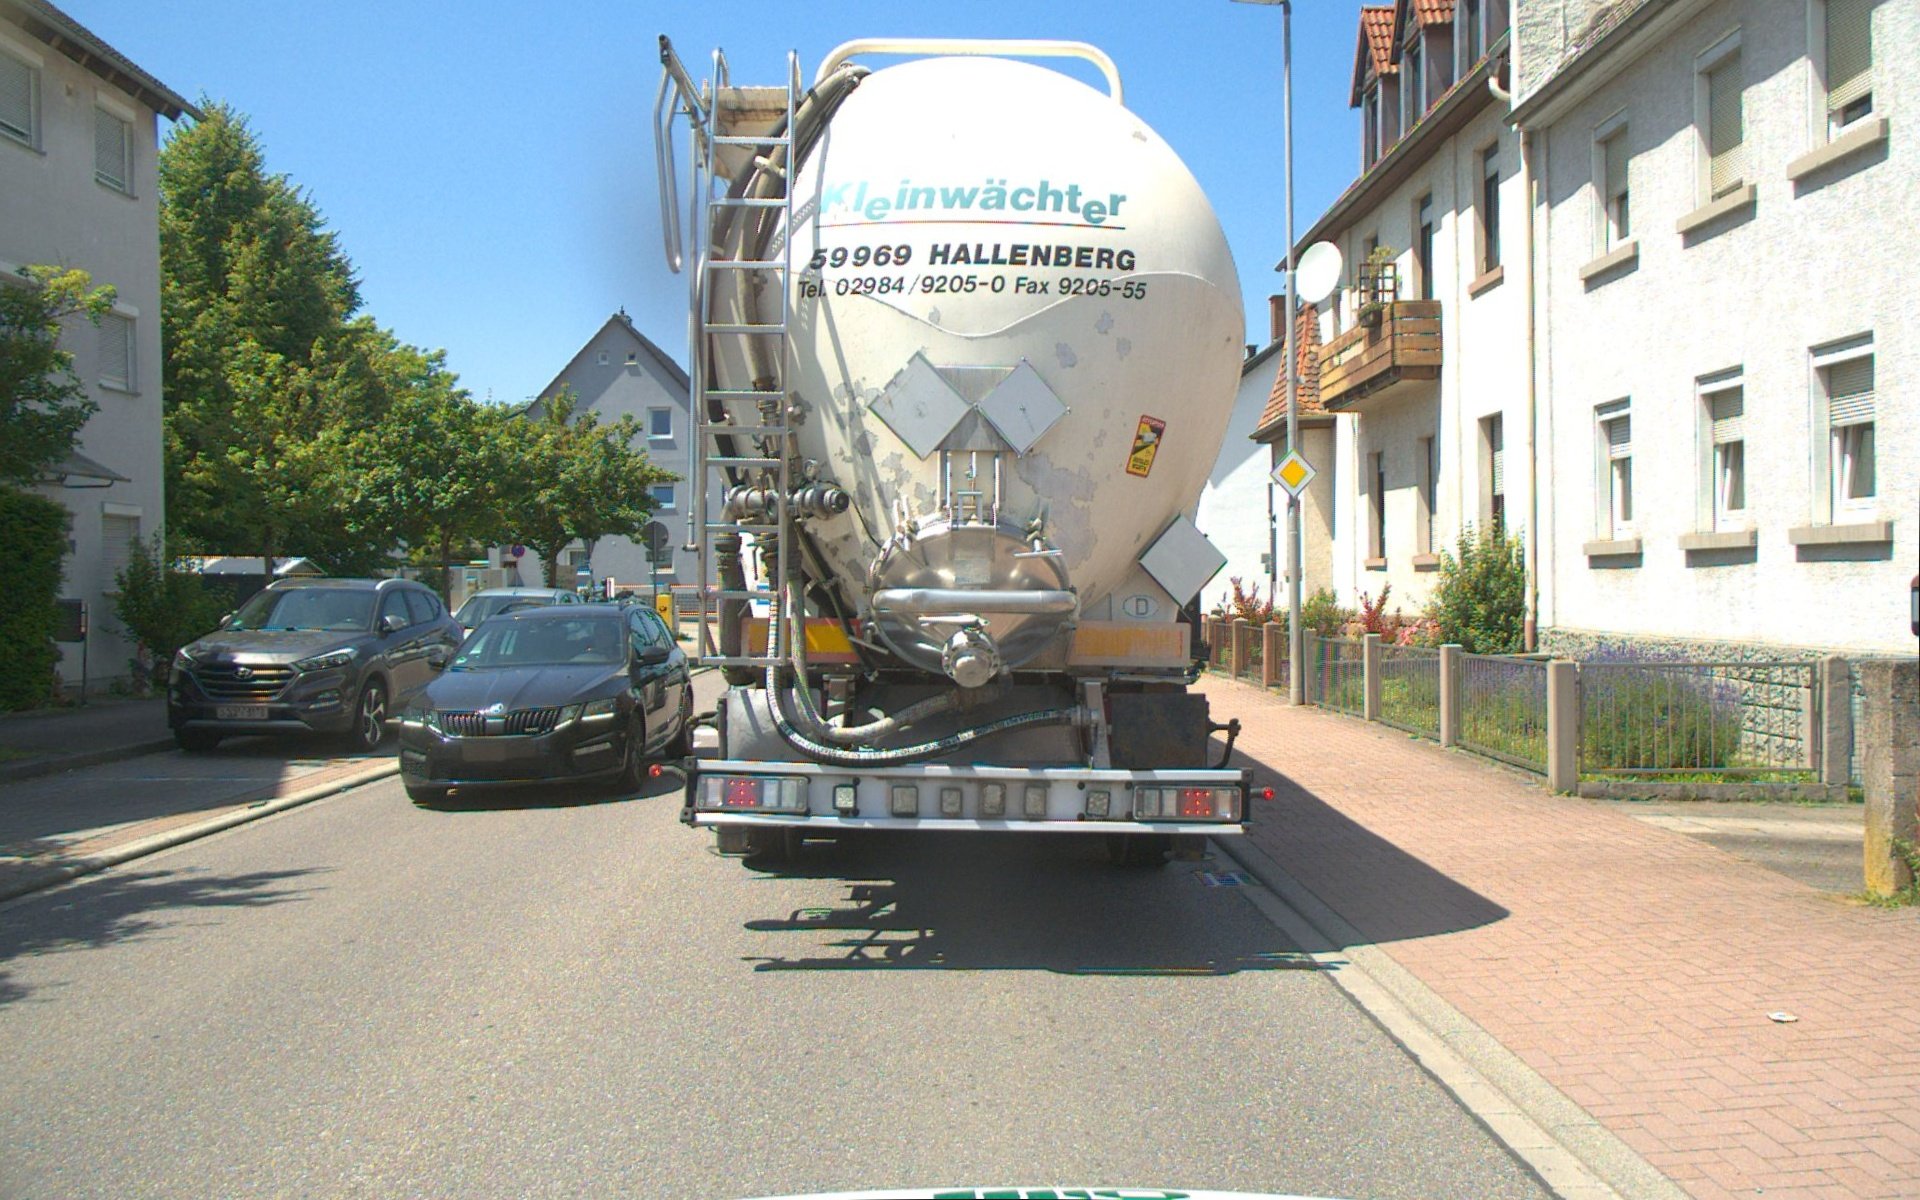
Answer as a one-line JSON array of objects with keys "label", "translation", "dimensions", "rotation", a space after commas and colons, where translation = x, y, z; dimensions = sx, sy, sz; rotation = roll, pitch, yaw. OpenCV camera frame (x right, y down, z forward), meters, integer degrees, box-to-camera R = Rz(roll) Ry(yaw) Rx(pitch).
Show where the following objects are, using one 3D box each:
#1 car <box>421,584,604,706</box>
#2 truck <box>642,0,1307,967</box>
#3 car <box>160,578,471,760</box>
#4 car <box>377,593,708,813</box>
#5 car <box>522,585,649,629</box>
[{"label": "car", "translation": [-6.323, 0.587, 23.771], "dimensions": [1.663, 1.608, 3.837], "rotation": [0, 0, -1]}, {"label": "truck", "translation": [0.010, -0.638, 11.238], "dimensions": [2.587, 4.086, 9.560], "rotation": [0, 0, -1]}, {"label": "car", "translation": [-6.451, 0.614, 17.044], "dimensions": [1.657, 1.648, 3.997], "rotation": [0, 0, 0]}, {"label": "car", "translation": [-3.285, 0.722, 13.868], "dimensions": [1.684, 1.472, 4.254], "rotation": [-2, 1, -1]}, {"label": "car", "translation": [-14.600, 0.256, 64.583], "dimensions": [4.526, 1.680, 1.742], "rotation": [0, 0, 7]}]
